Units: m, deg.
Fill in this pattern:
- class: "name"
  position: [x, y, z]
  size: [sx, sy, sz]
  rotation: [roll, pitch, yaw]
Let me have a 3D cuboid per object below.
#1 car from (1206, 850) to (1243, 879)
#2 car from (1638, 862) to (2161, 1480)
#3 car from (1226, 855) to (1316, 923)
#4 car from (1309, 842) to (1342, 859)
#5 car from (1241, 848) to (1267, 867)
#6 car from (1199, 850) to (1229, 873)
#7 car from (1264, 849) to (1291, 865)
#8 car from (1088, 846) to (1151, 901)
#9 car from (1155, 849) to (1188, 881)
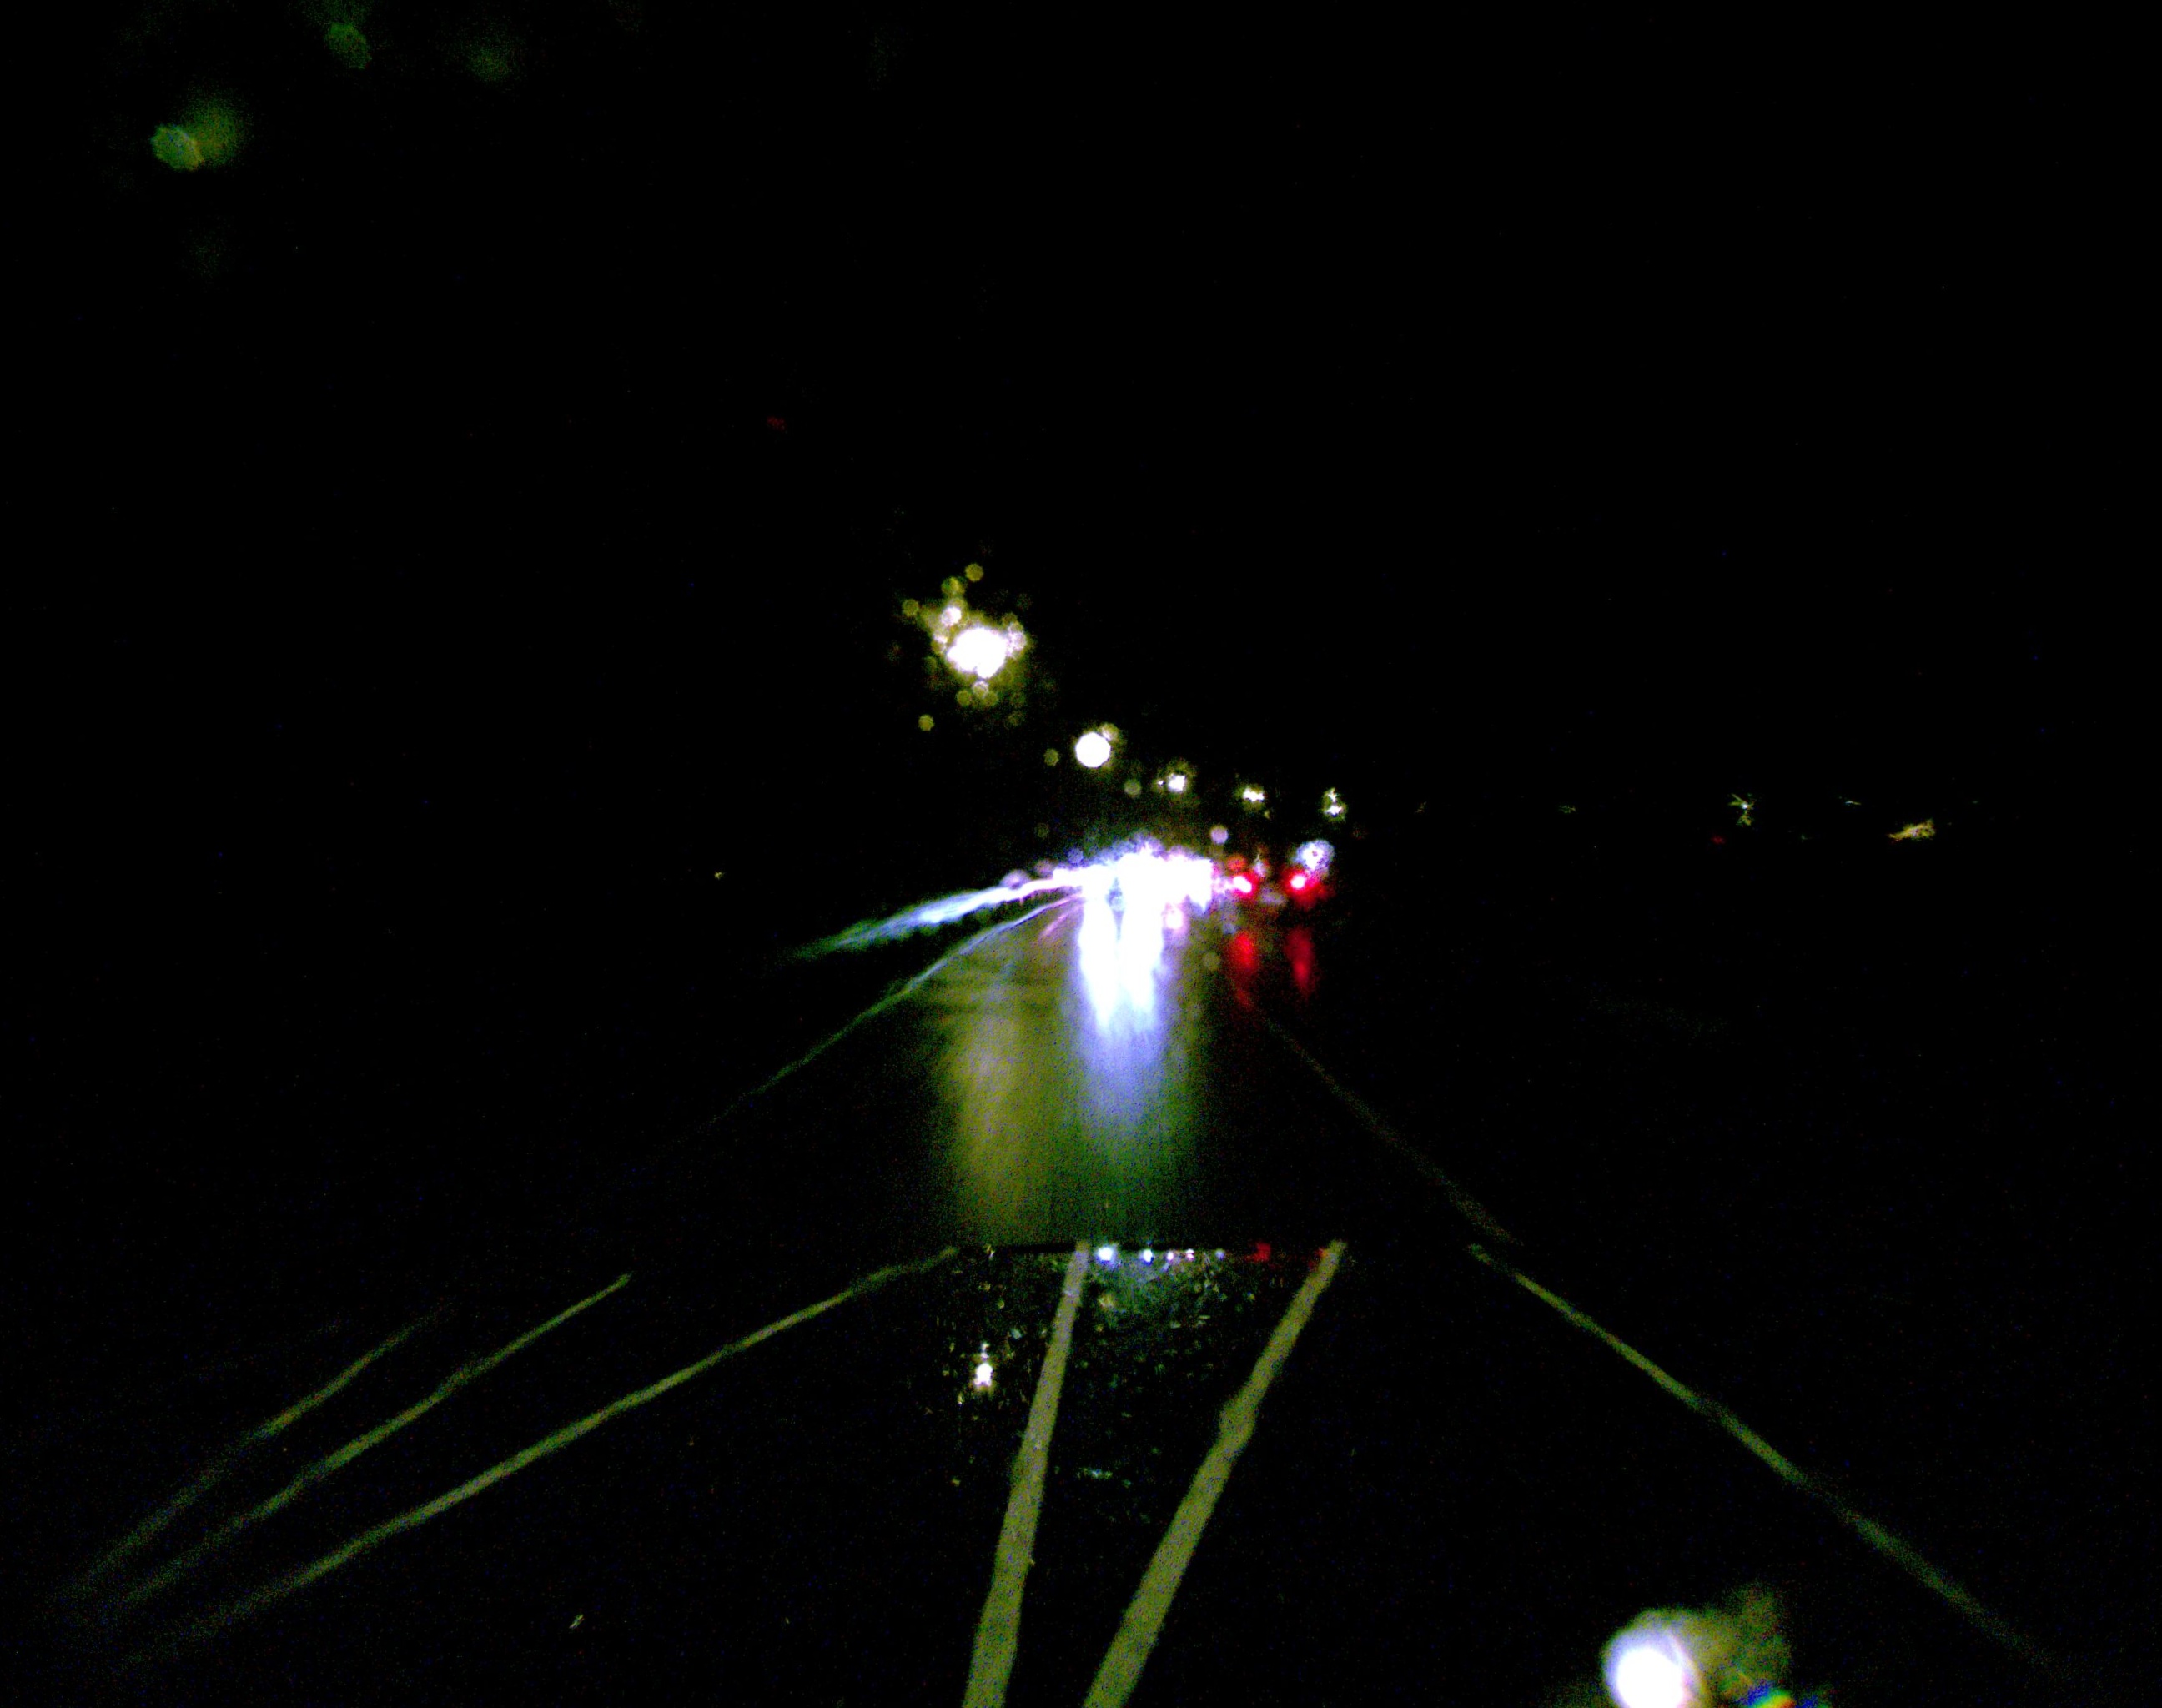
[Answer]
- class: "car"
  position: [7.830, 0.531, 41.184]
  size: [1.795, 1.384, 4.595]
  rotation: [-1, 1, 12]
- class: "car"
  position: [3.487, 0.807, 1.650]
  size: [1.622, 1.470, 4.046]
  rotation: [-2, 0, 1]
- class: "car"
  position: [4.514, 0.768, 18.512]
  size: [1.668, 1.424, 3.821]
  rotation: [-2, 0, 7]
- class: "car"
  position: [30.635, -0.401, 95.083]
  size: [2.450, 1.976, 5.505]
  rotation: [-2, 0, 35]
- class: "car"
  position: [18.649, 0.381, 81.899]
  size: [1.995, 1.922, 4.006]
  rotation: [-2, 0, 23]
- class: "car"
  position: [11.763, 0.621, 67.147]
  size: [1.996, 1.922, 4.005]
  rotation: [-2, 0, 18]
- class: "car"
  position: [18.568, 0.286, 71.745]
  size: [1.730, 1.396, 3.869]
  rotation: [-1, 0, 25]
- class: "car"
  position: [1.542, 0.706, 28.659]
  size: [1.935, 1.861, 4.003]
  rotation: [-2, 0, 8]
- class: "car"
  position: [5.904, 0.718, 49.451]
  size: [1.997, 1.922, 4.003]
  rotation: [-2, 0, 8]
